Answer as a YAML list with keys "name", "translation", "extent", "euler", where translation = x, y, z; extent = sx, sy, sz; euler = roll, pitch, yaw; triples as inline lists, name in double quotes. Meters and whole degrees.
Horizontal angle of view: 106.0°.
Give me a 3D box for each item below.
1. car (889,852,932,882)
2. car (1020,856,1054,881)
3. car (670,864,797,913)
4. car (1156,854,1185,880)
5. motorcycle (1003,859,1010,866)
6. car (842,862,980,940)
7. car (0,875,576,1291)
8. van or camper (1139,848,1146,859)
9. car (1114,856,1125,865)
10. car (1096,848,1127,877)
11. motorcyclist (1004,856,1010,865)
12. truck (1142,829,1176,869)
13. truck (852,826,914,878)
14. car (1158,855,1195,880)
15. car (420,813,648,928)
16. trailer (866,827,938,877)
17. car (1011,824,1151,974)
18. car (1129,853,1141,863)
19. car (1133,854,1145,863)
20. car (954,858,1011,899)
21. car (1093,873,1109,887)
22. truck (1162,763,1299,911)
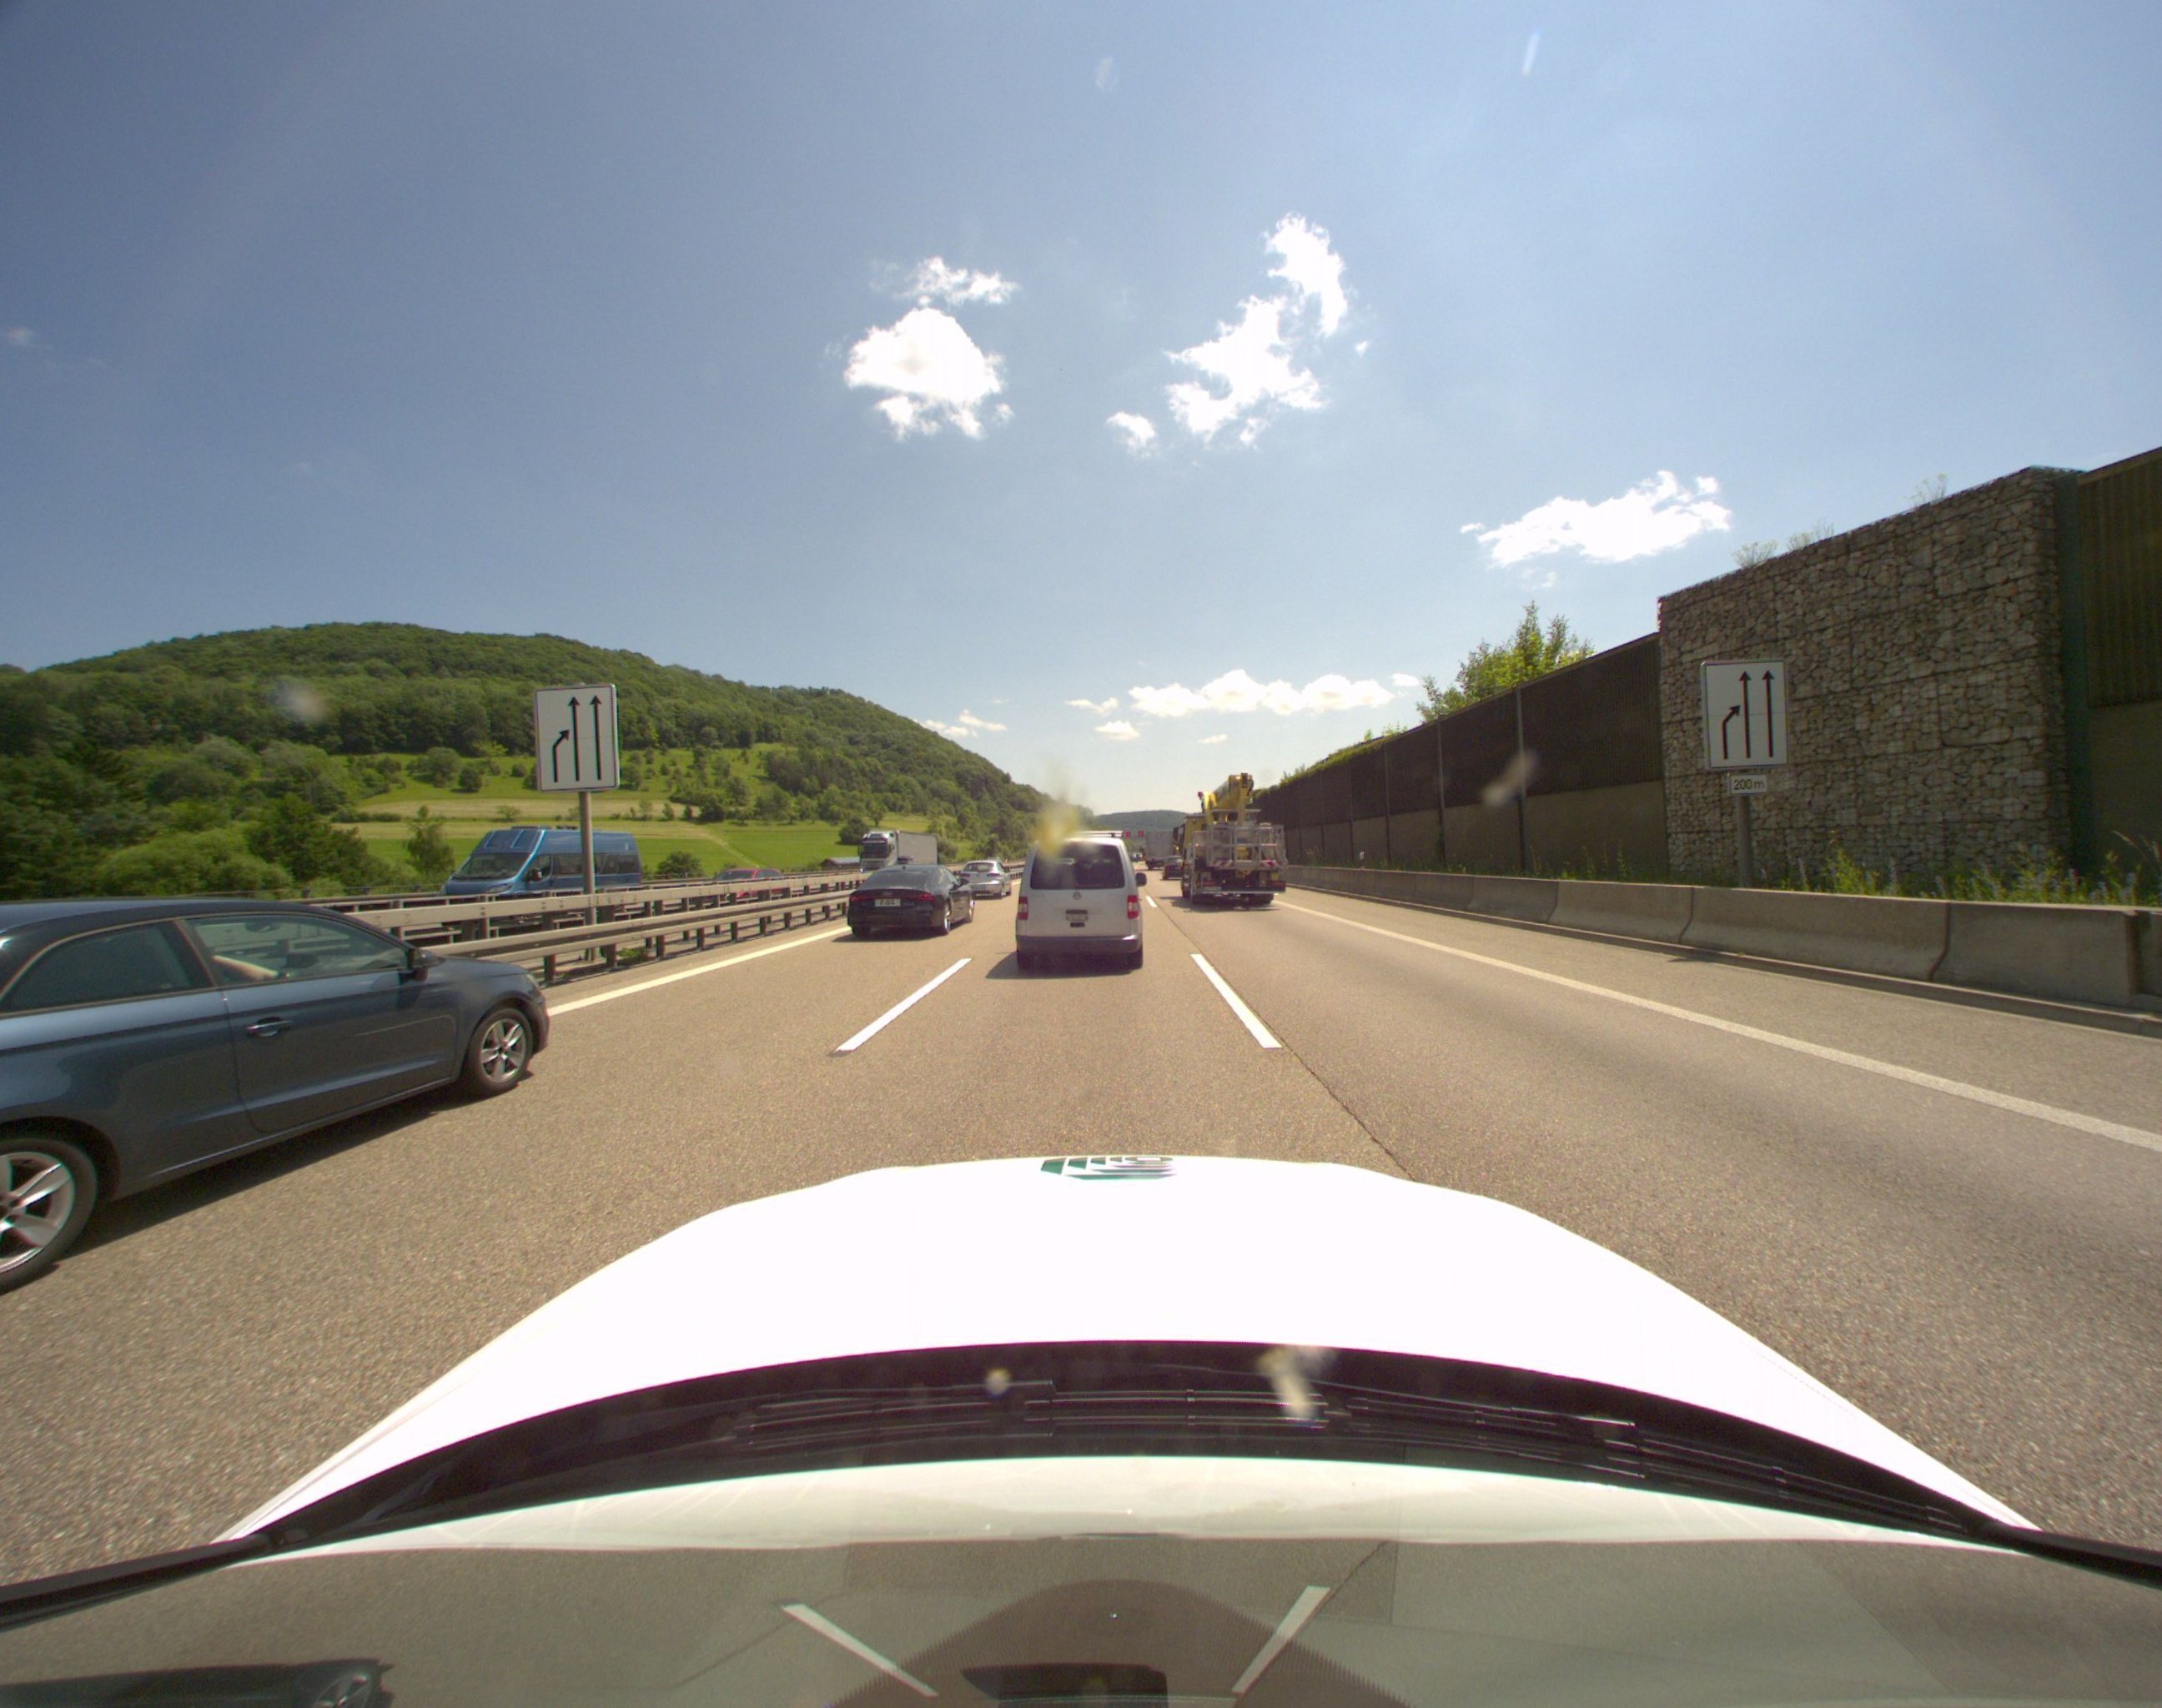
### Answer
- name: "car"
  translation: [-12.432, 0.908, 59.512]
  extent: [1.877, 2.118, 4.288]
  euler: [-1, 0, 4]
- name: "car"
  translation: [-2.702, 0.879, 50.900]
  extent: [1.919, 1.499, 3.998]
  euler: [-1, 0, -1]
- name: "car"
  translation: [-11.223, 1.061, 26.709]
  extent: [1.986, 1.386, 4.722]
  euler: [-1, 0, 2]
- name: "car"
  translation: [7.363, 1.063, 67.147]
  extent: [1.987, 2.013, 4.000]
  euler: [-1, 0, 1]
- name: "motorcycle"
  translation: [-11.793, 1.353, 129.078]
  extent: [0.715, 1.149, 2.130]
  euler: [-1, 0, 1]
- name: "car"
  translation: [-3.459, 0.894, 17.600]
  extent: [1.794, 1.390, 4.970]
  euler: [-1, 0, 1]
- name: "car"
  translation: [-4.647, 0.867, 4.078]
  extent: [1.683, 1.388, 4.000]
  euler: [-1, 0, 0]
- name: "van or camper"
  translation: [17.853, -0.077, 236.725]
  extent: [1.986, 2.954, 5.425]
  euler: [0, -1, 2]
- name: "car"
  translation: [7.707, 1.261, 163.636]
  extent: [2.108, 1.828, 3.998]
  euler: [0, -1, -1]
- name: "car"
  translation: [2.164, 0.611, 58.389]
  extent: [1.988, 1.975, 3.998]
  euler: [-1, 0, -1]
- name: "motorcyclist"
  translation: [-11.791, 1.010, 129.050]
  extent: [0.841, 1.501, 0.838]
  euler: [-1, 0, 1]
- name: "truck"
  translation: [7.805, -0.430, 82.356]
  extent: [2.928, 3.823, 8.241]
  euler: [0, -1, 3]
- name: "truck"
  translation: [-16.676, -0.143, 69.136]
  extent: [3.266, 4.148, 6.957]
  euler: [-1, -1, 2]
- name: "car"
  translation: [5.876, 0.796, 50.557]
  extent: [1.781, 1.458, 3.769]
  euler: [-1, 0, -1]
- name: "car"
  translation: [-15.477, 0.450, 23.707]
  extent: [2.147, 2.862, 6.401]
  euler: [0, -1, 2]
- name: "trailer"
  translation: [-16.354, -0.089, 75.677]
  extent: [3.234, 4.204, 13.007]
  euler: [0, -1, 3]
- name: "car"
  translation: [-0.020, 0.574, 12.387]
  extent: [1.751, 1.868, 3.998]
  euler: [-1, 0, -1]
- name: "car"
  translation: [9.483, 0.730, 142.399]
  extent: [1.986, 1.749, 4.002]
  euler: [0, -1, 2]
- name: "car"
  translation: [12.097, 1.010, 170.316]
  extent: [2.108, 1.828, 3.998]
  euler: [0, -1, -1]
- name: "car"
  translation: [-3.700, 0.893, 31.179]
  extent: [1.690, 1.445, 3.861]
  euler: [-1, 0, 0]
- name: "car"
  translation: [2.795, 3.539, 112.707]
  extent: [2.106, 1.828, 4.002]
  euler: [0, -1, 2]
- name: "truck"
  translation: [4.478, -0.446, 26.384]
  extent: [2.696, 3.942, 8.718]
  euler: [-1, 0, -1]
